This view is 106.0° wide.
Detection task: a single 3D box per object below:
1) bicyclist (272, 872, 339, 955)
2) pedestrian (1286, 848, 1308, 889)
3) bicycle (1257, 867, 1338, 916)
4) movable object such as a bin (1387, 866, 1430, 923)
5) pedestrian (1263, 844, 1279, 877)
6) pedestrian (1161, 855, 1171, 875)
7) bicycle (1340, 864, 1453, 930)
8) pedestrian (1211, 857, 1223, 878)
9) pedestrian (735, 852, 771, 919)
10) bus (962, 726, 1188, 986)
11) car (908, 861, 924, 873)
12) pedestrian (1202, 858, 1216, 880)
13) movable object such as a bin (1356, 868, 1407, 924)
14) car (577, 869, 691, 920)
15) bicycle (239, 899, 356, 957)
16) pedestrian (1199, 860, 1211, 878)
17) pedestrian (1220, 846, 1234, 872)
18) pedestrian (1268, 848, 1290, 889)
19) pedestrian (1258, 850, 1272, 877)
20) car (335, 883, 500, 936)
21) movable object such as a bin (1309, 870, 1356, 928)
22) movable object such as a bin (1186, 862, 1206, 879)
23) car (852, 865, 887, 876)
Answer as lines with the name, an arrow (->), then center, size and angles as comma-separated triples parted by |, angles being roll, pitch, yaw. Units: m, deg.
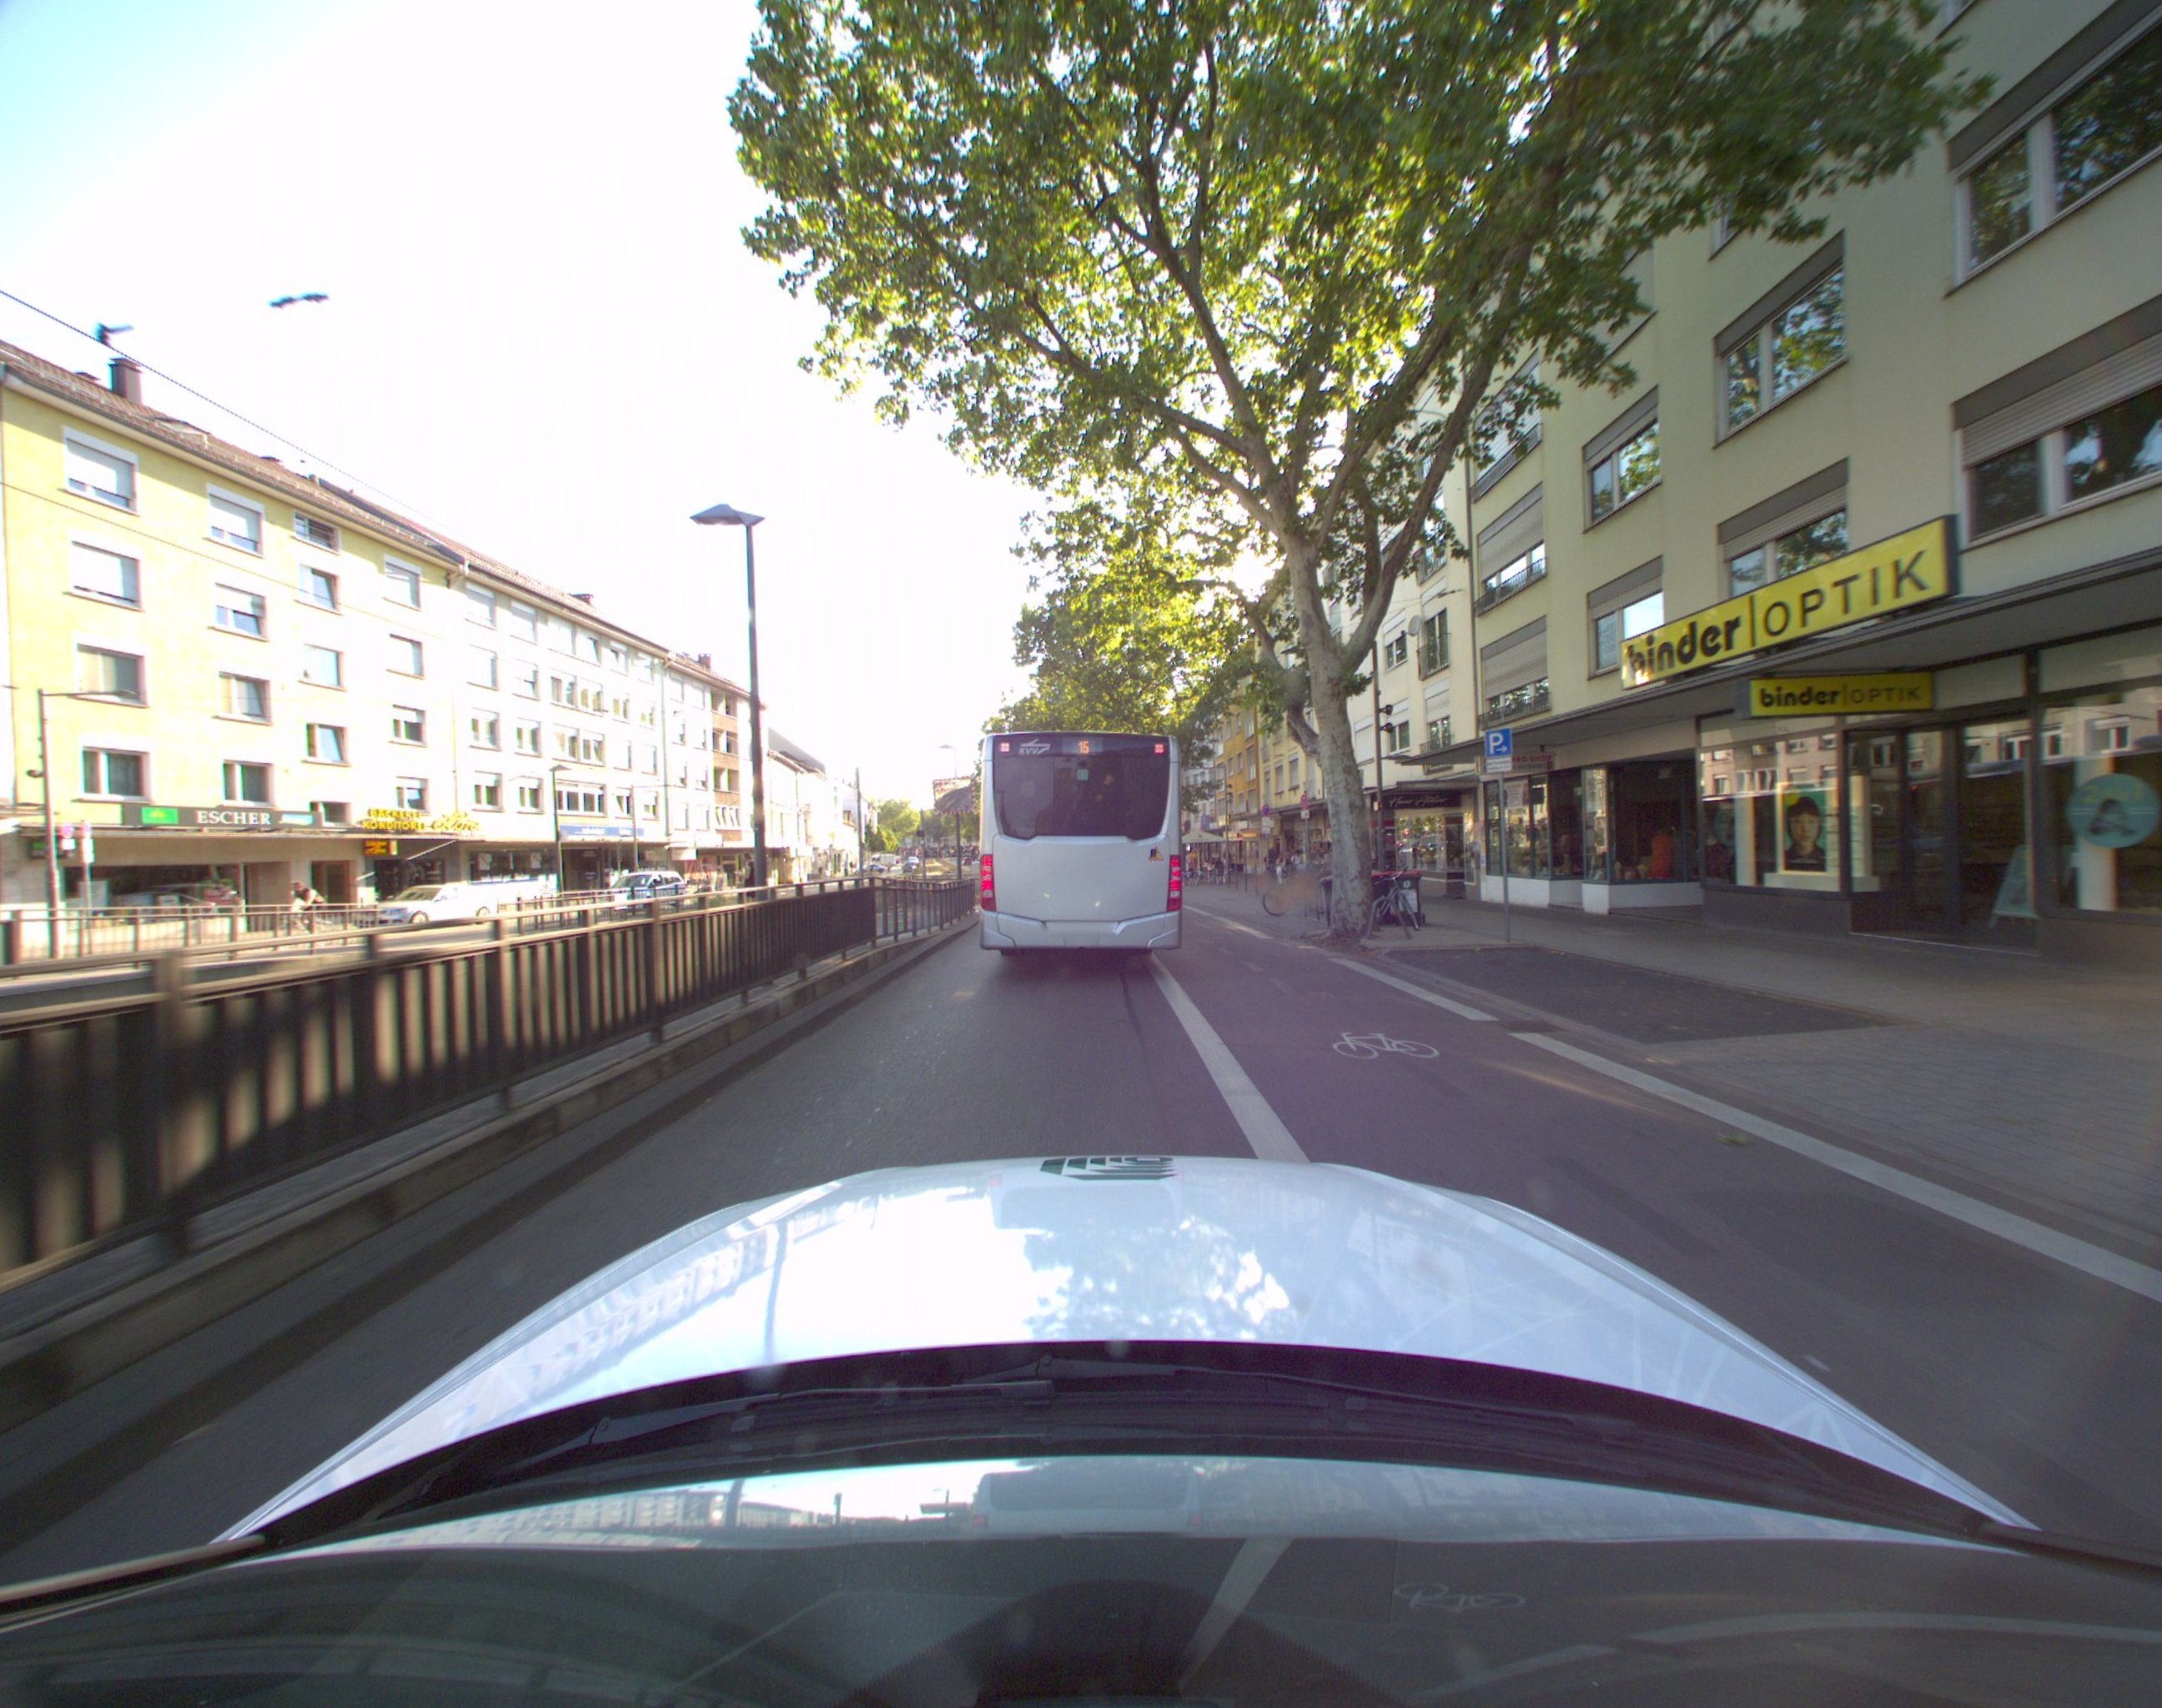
bicyclist -> -19.831, 1.495, 20.854 | 0.761, 2.013, 0.911 | -2, 0, 0
pedestrian -> 8.610, 0.585, 32.487 | 0.620, 1.586, 0.626 | -4, -1, 0
bicycle -> 5.545, 0.948, 20.917 | 1.897, 1.105, 0.519 | -4, -1, 7
movable object such as a bin -> 6.547, 0.811, 16.301 | 0.716, 1.072, 0.647 | -4, -1, 19
pedestrian -> 10.624, 0.359, 45.485 | 0.629, 1.804, 0.630 | -2, -1, 30
pedestrian -> 7.868, 1.005, 75.498 | 0.779, 1.794, 0.762 | -2, -1, -6
bicycle -> 5.666, 0.774, 14.690 | 1.711, 1.118, 0.745 | -1, -4, 1
pedestrian -> 8.252, 0.795, 49.414 | 0.582, 1.275, 0.757 | 0, -1, -6
pedestrian -> -9.253, 0.878, 23.004 | 0.740, 1.849, 0.589 | -2, 0, -5
bus -> -0.101, 0.013, 13.317 | 2.670, 3.083, 7.111 | -1, 0, -1
car -> -22.928, 1.838, 113.087 | 1.720, 1.509, 3.470 | -4, 0, -5
pedestrian -> 7.475, 0.864, 47.709 | 0.605, 1.225, 0.743 | -2, 0, -6
movable object such as a bin -> 6.157, 0.848, 16.718 | 0.720, 1.072, 0.644 | -4, -1, -1
car -> -17.560, 1.553, 32.276 | 1.987, 1.717, 4.435 | -2, 0, 0
bicycle -> -19.820, 1.849, 20.693 | 0.715, 1.230, 2.278 | -3, 0, 0
pedestrian -> 7.596, 0.925, 50.039 | 0.582, 1.115, 0.749 | 0, -1, -6
pedestrian -> 10.588, 0.356, 59.155 | 0.704, 1.791, 0.787 | -5, 0, 0
pedestrian -> 7.903, 0.576, 32.510 | 0.633, 1.586, 0.626 | -4, -1, 0
pedestrian -> 10.671, 0.542, 47.198 | 0.619, 1.546, 0.641 | -2, -1, 25
car -> -22.005, 1.793, 27.286 | 1.988, 1.478, 4.407 | 0, 0, -2
movable object such as a bin -> 5.184, 0.925, 16.831 | 0.718, 1.102, 0.645 | -6, -1, 8
movable object such as a bin -> 7.215, 1.045, 50.964 | 0.932, 1.023, 0.832 | 0, -1, -29
car -> -30.972, 2.368, 119.220 | 4.577, 1.412, 1.976 | -2, 0, -42
